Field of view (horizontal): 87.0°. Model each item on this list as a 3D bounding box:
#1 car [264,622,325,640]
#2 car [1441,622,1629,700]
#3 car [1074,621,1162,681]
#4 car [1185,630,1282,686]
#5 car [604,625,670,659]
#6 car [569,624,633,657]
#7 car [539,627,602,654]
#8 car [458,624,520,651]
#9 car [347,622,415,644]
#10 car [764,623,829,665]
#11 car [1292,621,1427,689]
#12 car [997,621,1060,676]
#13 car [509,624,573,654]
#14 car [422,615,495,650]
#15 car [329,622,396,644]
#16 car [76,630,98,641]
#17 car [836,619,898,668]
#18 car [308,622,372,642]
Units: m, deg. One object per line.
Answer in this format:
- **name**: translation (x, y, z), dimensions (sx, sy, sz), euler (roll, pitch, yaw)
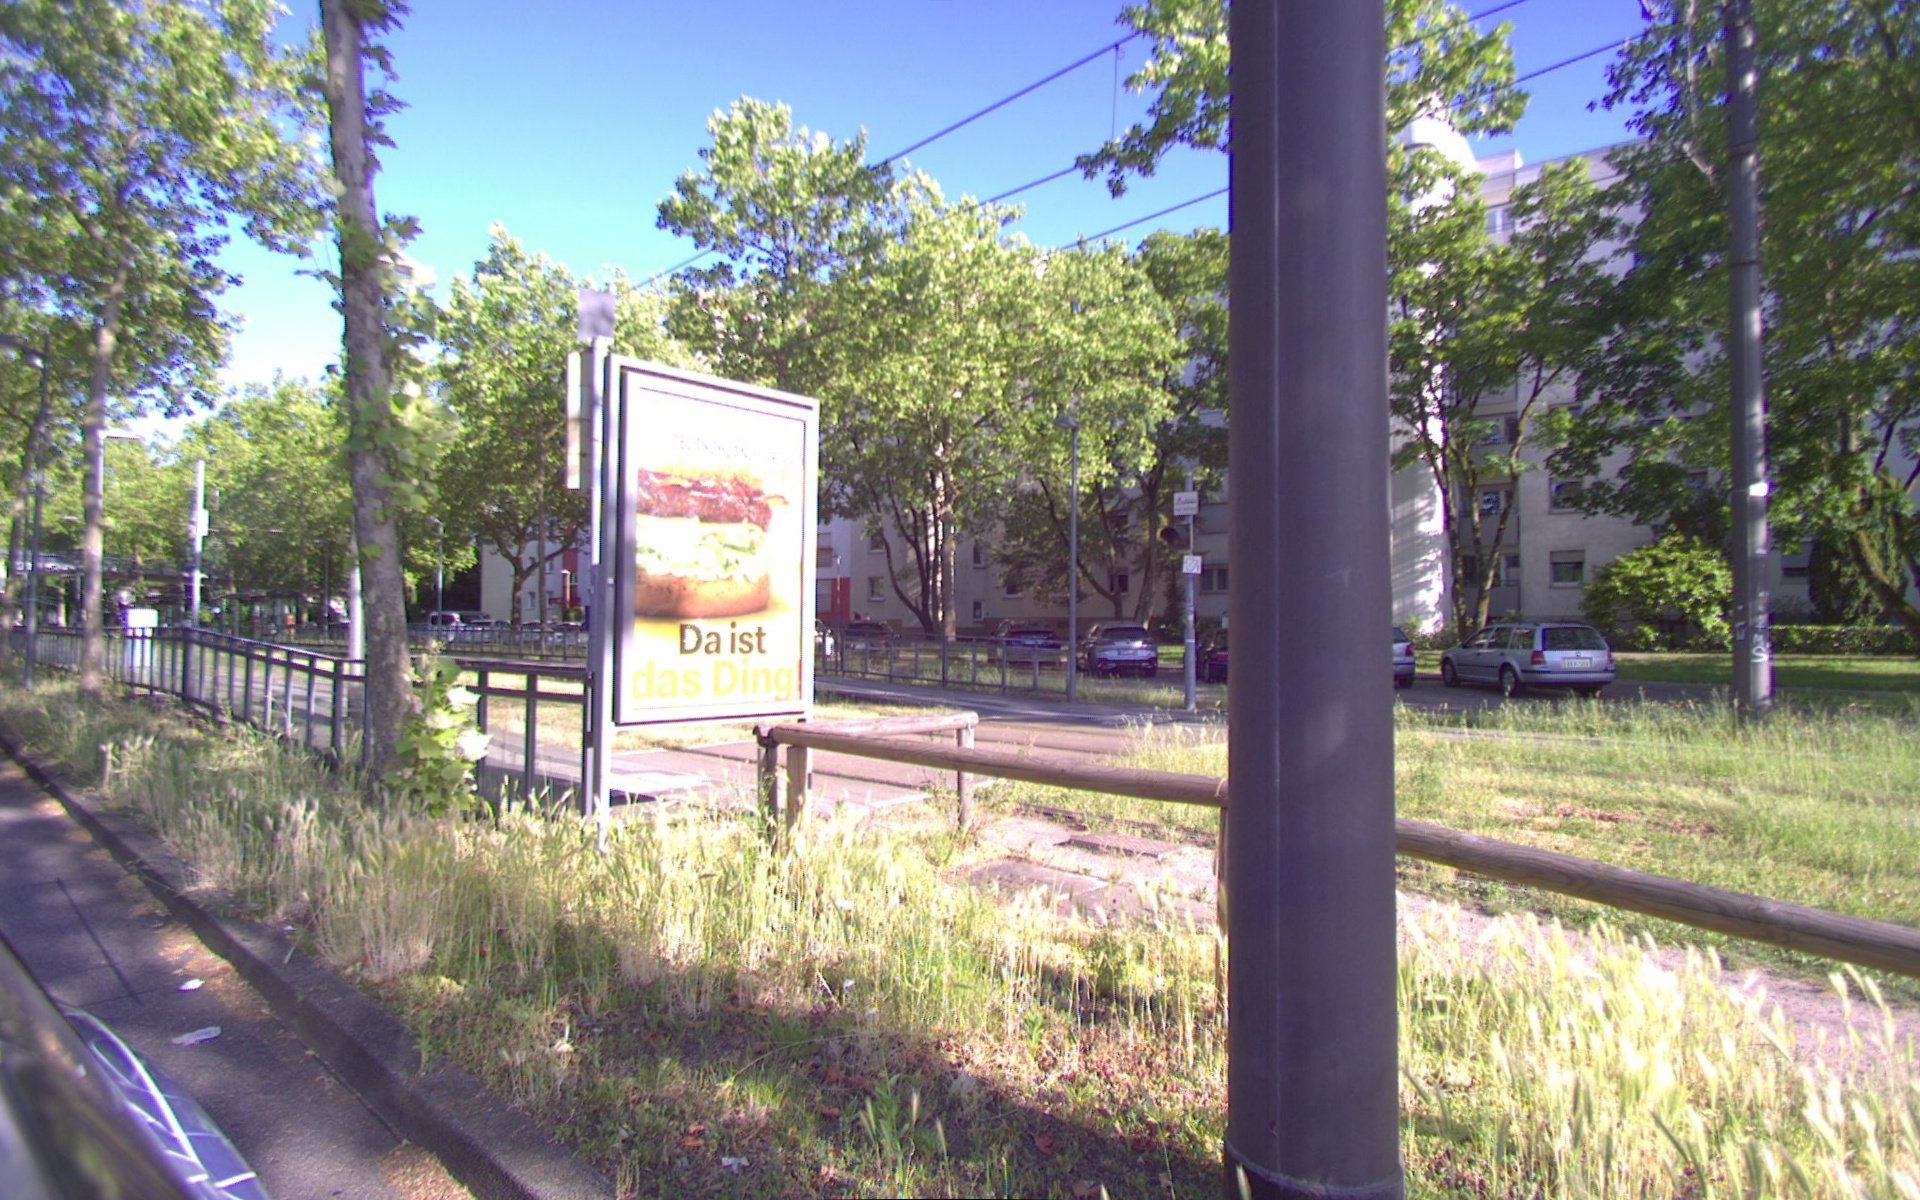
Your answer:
- **car**: translation (-52.143, 2.394, 79.371), dimensions (1.898, 1.386, 4.365), euler (0, -1, 1)
- **car**: translation (11.547, 1.171, 20.632), dimensions (1.707, 1.444, 3.681), euler (0, -1, 1)
- **car**: translation (4.206, 1.340, 27.496), dimensions (1.894, 1.507, 3.680), euler (0, -1, 2)
- **car**: translation (6.729, 1.395, 25.210), dimensions (1.602, 1.256, 3.677), euler (0, -1, 4)
- **car**: translation (-14.082, 1.812, 44.285), dimensions (1.627, 1.403, 3.679), euler (0, -1, 2)
- **car**: translation (-16.681, 1.835, 47.141), dimensions (1.627, 1.460, 3.680), euler (0, -1, 1)
- **car**: translation (-19.045, 1.973, 49.671), dimensions (1.627, 1.251, 3.680), euler (0, -1, 1)
- **car**: translation (-25.797, 2.027, 55.524), dimensions (1.627, 1.407, 3.680), euler (0, -1, 1)
- **car**: translation (-37.951, 2.148, 66.489), dimensions (1.898, 1.386, 4.365), euler (0, -1, 1)
- **car**: translation (-5.909, 1.565, 36.922), dimensions (1.664, 1.444, 3.679), euler (0, -1, 2)
- **car**: translation (9.153, 1.214, 23.531), dimensions (1.679, 1.444, 3.681), euler (0, -1, 1)
- **car**: translation (1.934, 1.362, 29.450), dimensions (1.664, 1.482, 3.680), euler (0, -1, 1)
- **car**: translation (-21.122, 1.951, 51.139), dimensions (1.627, 1.460, 3.680), euler (0, -1, 1)
- **car**: translation (-28.325, 1.817, 57.333), dimensions (1.898, 1.898, 4.365), euler (0, -1, 1)
- **car**: translation (-40.281, 2.195, 68.397), dimensions (1.898, 1.386, 4.365), euler (0, -1, 1)
- **car**: translation (-109.001, 4.411, 126.328), dimensions (3.294, 1.370, 1.651), euler (-1, -2, 41)
- **car**: translation (-3.107, 1.452, 34.472), dimensions (1.664, 1.579, 3.679), euler (0, -1, 2)
- **car**: translation (-44.642, 2.272, 72.991), dimensions (1.898, 1.386, 4.365), euler (0, -1, 1)
